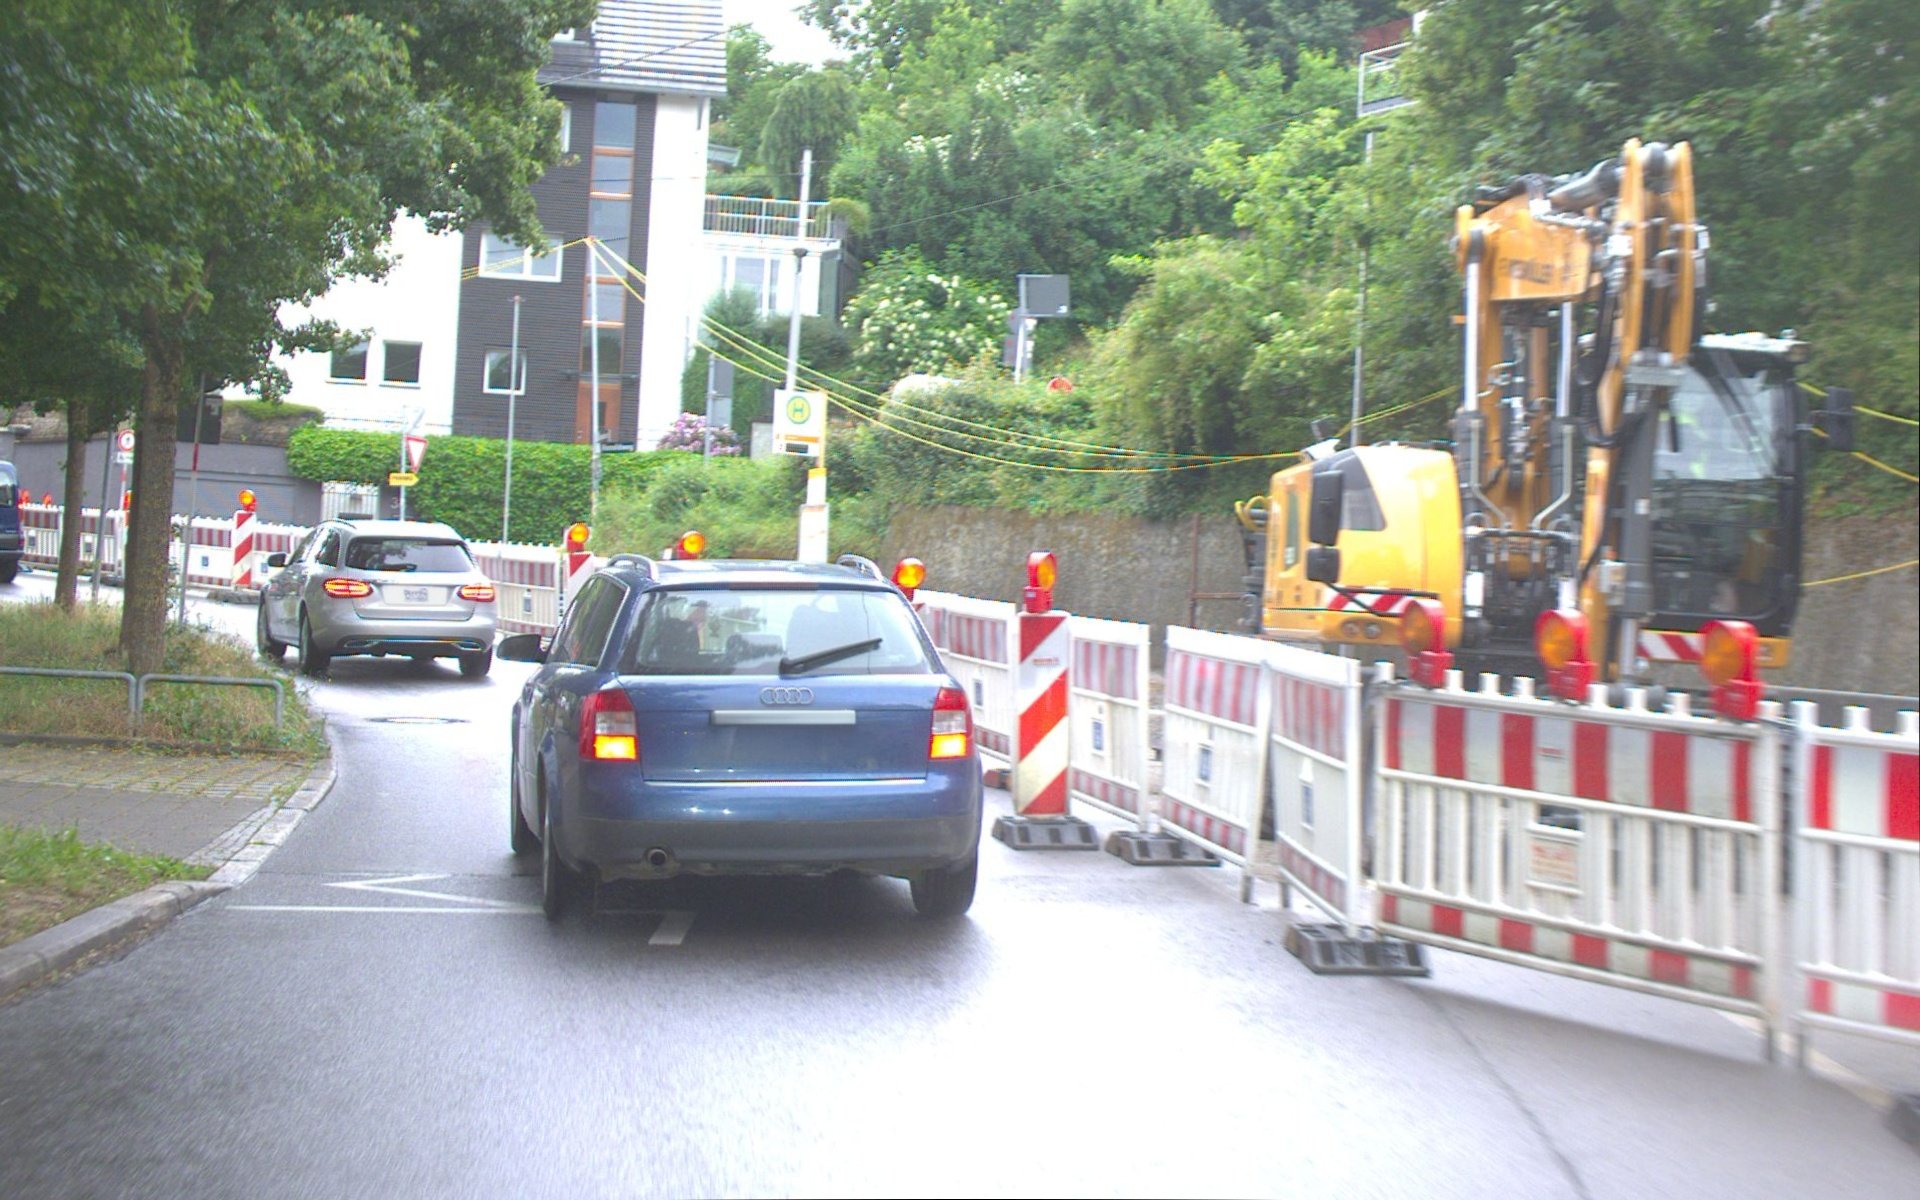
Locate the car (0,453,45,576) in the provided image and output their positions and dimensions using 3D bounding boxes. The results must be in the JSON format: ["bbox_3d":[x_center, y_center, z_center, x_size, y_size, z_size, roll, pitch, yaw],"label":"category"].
[{"bbox_3d":[-15.338,-1.267,51.593,1.993,1.788,4.000,0,0,-32],"label":"car"}]

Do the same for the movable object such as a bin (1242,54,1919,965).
[{"bbox_3d":[3.391,-0.470,19.040,2.819,4.000,7.327,2,1,-1],"label":"movable object such as a bin"}]

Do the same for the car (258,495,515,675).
[{"bbox_3d":[-5.708,-0.190,33.808,1.925,1.612,4.322,1,1,-17],"label":"car"}]

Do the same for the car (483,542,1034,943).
[{"bbox_3d":[-1.007,0.512,14.774,1.785,1.437,3.965,2,1,-11],"label":"car"}]
